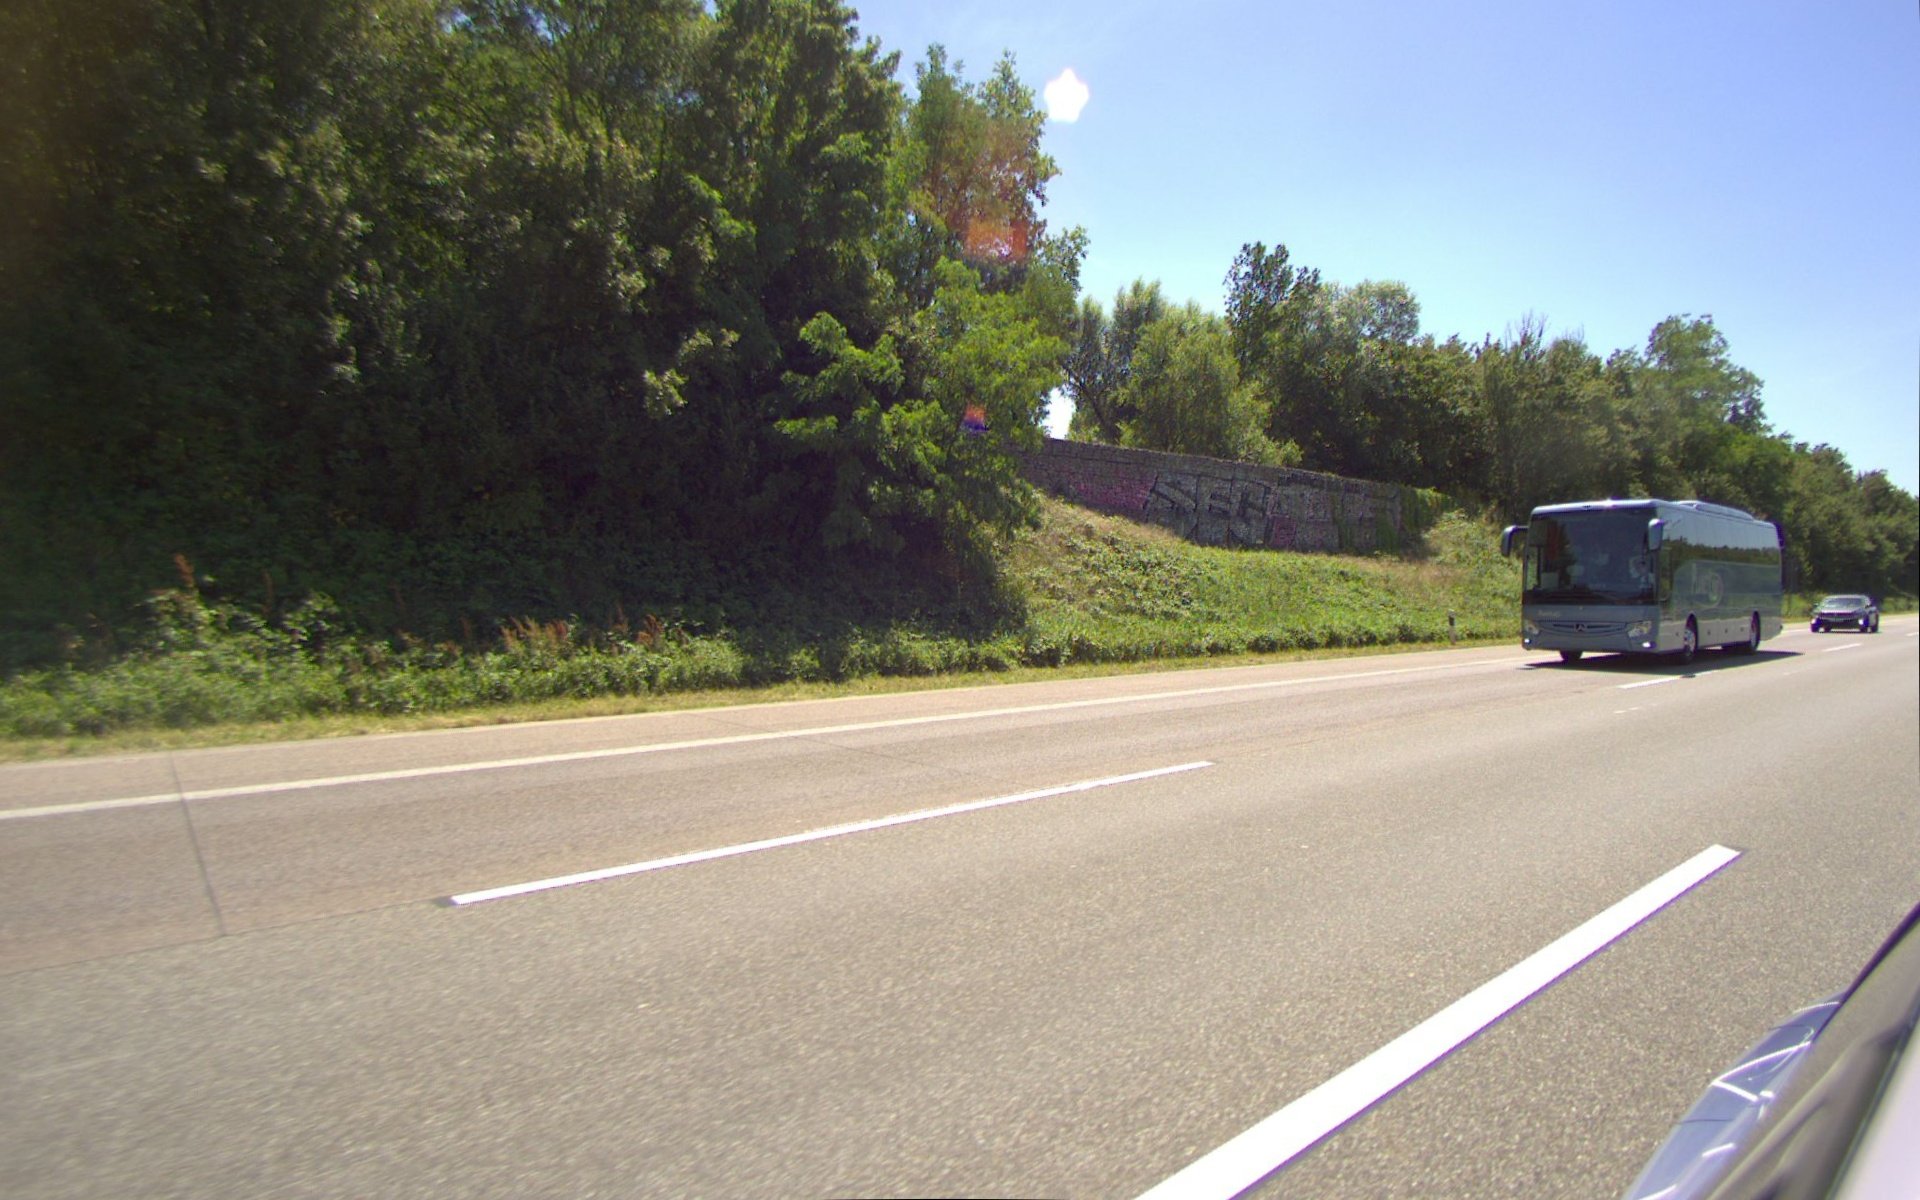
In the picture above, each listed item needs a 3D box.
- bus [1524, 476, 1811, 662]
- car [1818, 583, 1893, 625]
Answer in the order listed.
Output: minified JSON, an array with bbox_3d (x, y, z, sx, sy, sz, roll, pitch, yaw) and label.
[{"bbox_3d":[17.927,-0.687,24.957,13.444,3.597,2.615,-1,1,-41],"label":"bus"},{"bbox_3d":[37.174,0.137,41.989,3.930,1.636,1.813,-1,1,-41],"label":"car"}]
